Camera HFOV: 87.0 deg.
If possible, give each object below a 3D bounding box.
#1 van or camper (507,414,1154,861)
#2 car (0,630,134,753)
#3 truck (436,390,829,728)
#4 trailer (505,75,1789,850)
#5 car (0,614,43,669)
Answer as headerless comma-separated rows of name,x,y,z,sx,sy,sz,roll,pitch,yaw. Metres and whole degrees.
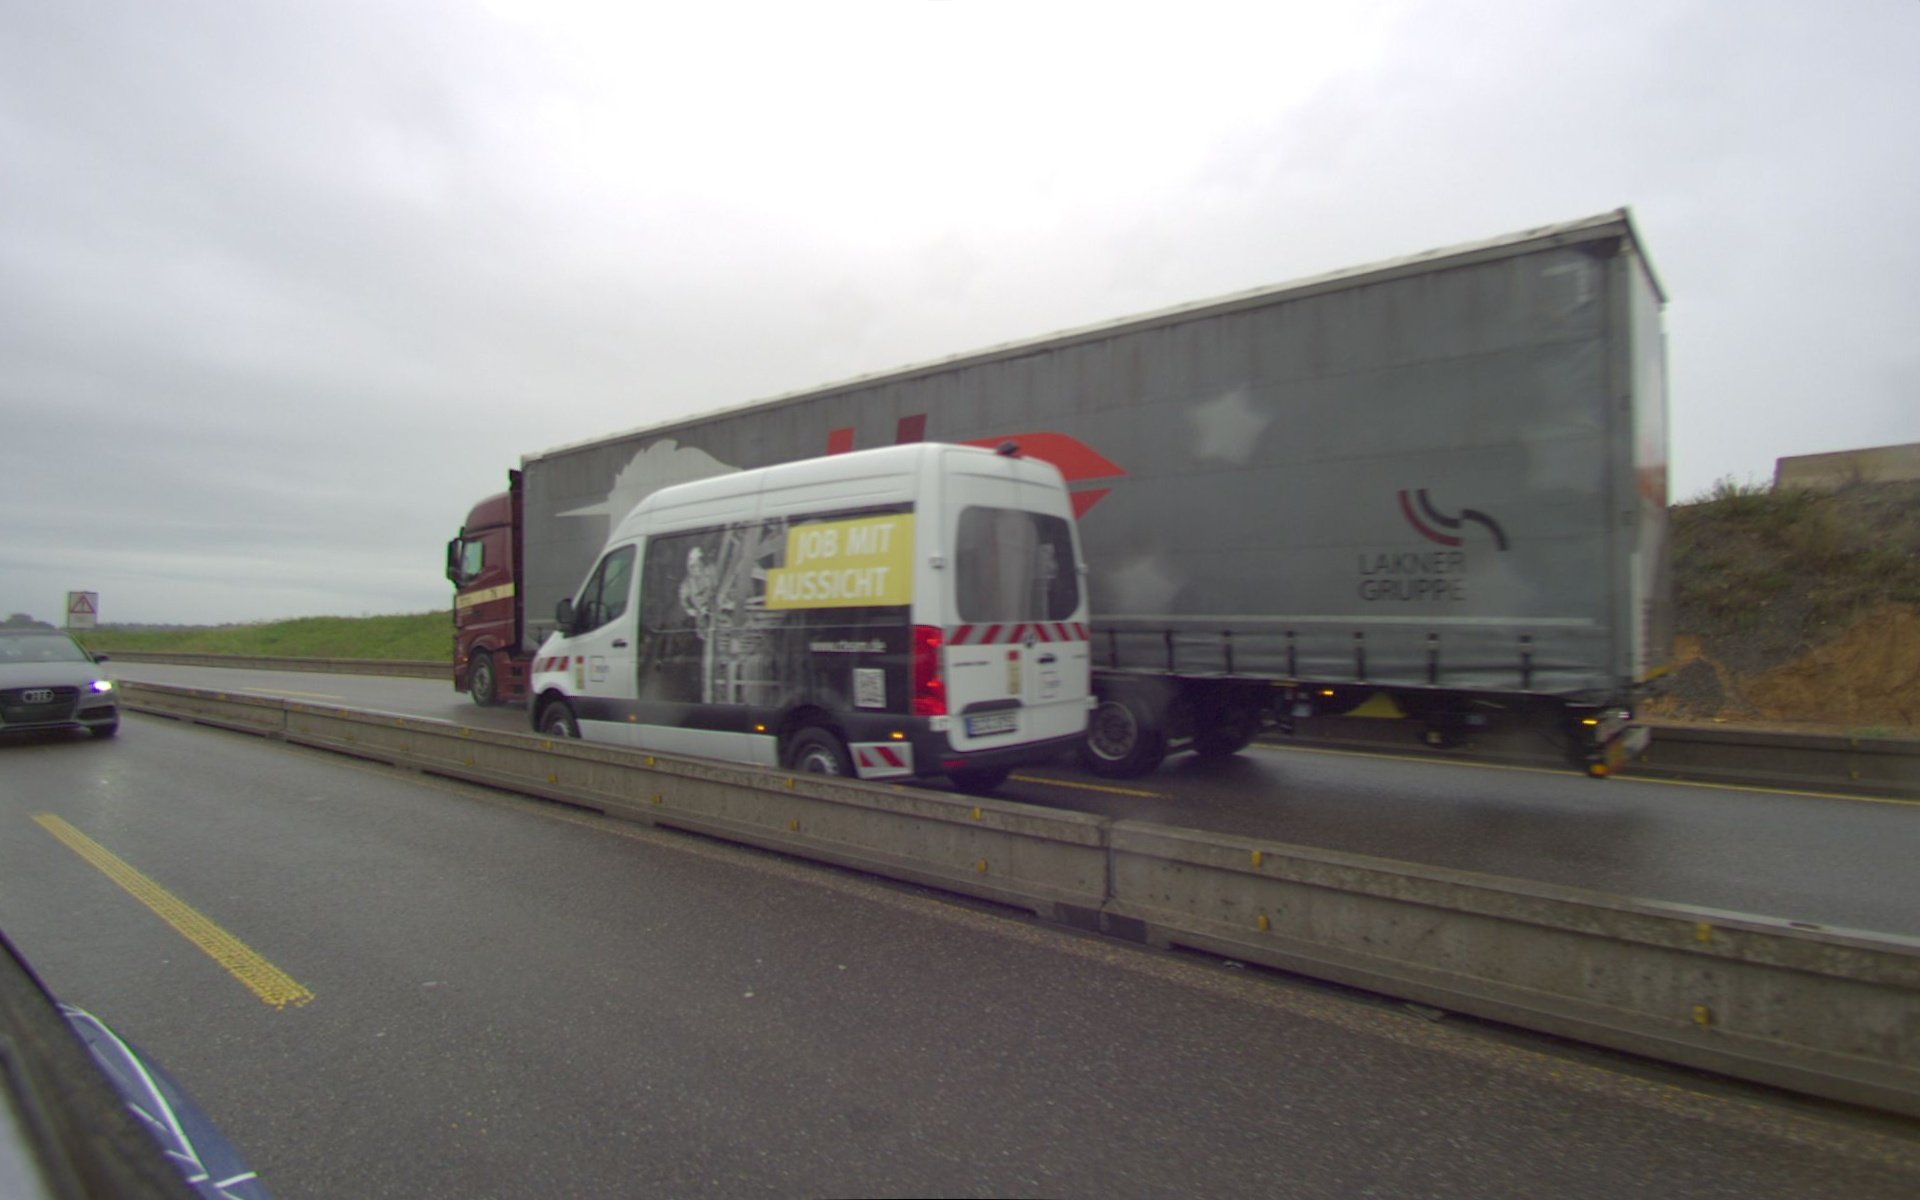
van or camper,-1.465,0.265,8.747,5.825,2.634,2.255,-1,-1,41
car,-12.515,1.104,13.262,4.083,1.393,1.783,-1,-2,39
truck,-5.607,-0.411,16.681,6.927,4.443,2.948,-2,-4,41
trailer,-0.348,-0.561,12.087,15.694,4.455,2.964,-2,-4,41
car,-33.002,1.440,34.404,4.628,1.511,1.730,0,11,38
